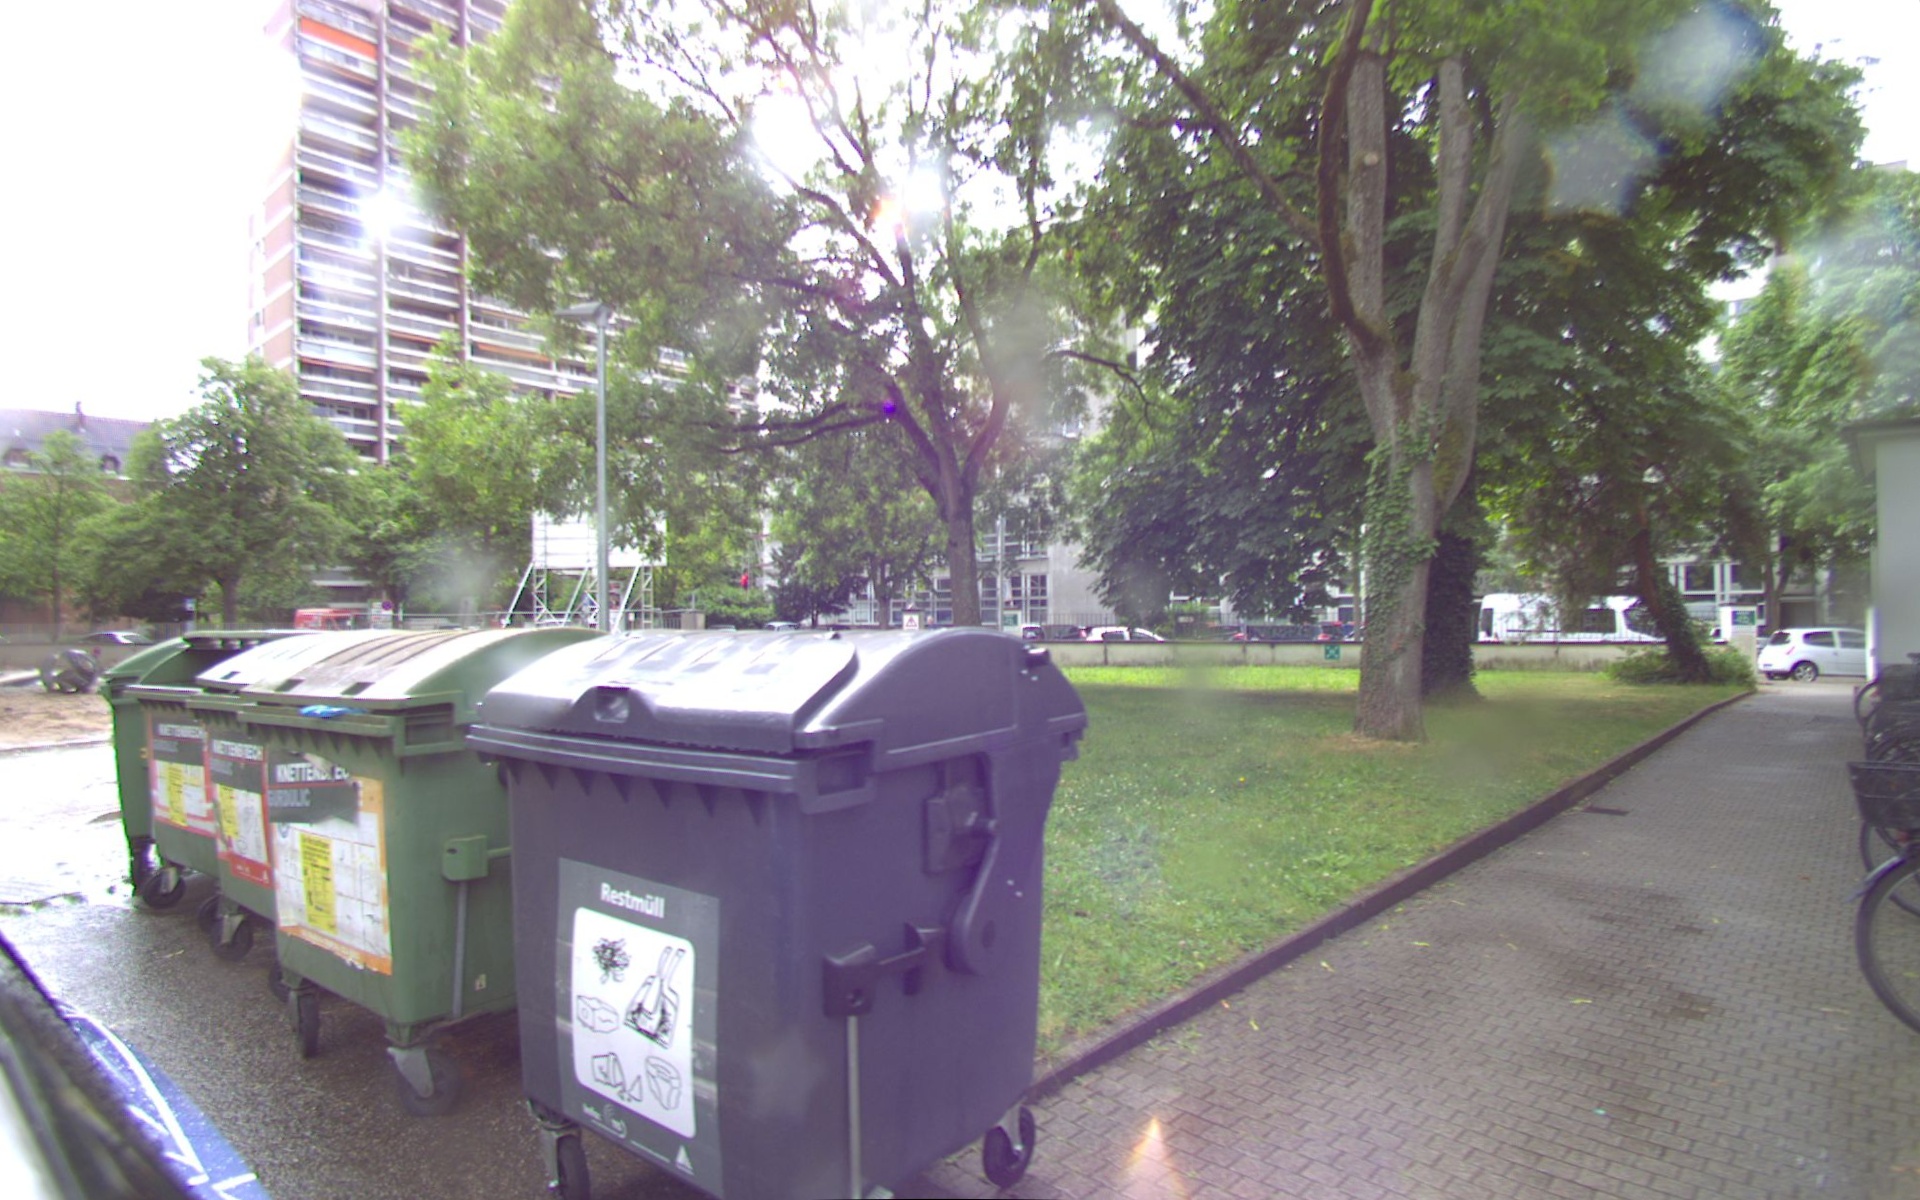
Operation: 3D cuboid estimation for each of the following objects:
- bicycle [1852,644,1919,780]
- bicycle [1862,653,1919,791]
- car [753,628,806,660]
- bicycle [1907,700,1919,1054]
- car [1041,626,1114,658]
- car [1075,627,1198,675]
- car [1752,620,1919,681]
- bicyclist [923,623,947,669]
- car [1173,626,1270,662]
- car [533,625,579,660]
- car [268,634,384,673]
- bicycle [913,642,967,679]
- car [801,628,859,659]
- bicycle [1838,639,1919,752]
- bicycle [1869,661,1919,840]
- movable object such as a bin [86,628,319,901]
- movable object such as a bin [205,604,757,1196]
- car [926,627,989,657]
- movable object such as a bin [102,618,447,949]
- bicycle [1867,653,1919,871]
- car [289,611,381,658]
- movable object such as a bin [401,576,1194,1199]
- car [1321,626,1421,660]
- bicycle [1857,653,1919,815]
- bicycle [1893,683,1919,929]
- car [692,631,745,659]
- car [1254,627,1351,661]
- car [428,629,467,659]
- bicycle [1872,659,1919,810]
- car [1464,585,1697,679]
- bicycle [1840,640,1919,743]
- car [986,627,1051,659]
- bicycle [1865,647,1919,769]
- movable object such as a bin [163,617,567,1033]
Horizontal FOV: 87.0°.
[{"bbox_3d":[9.099,0.980,8.819,1.926,1.186,0.608,-3,-3,43],"label":"bicycle"},{"bbox_3d":[8.604,1.023,8.193,1.926,1.124,0.608,-1,-2,43],"label":"bicycle"},{"bbox_3d":[-9.422,2.266,52.628,1.679,1.563,3.661,0,-2,-28],"label":"car"},{"bbox_3d":[3.987,0.918,2.936,1.788,1.124,0.608,-1,-2,43],"label":"bicycle"},{"bbox_3d":[5.629,2.050,49.074,1.785,1.492,3.991,0,-3,-23],"label":"car"},{"bbox_3d":[5.709,1.644,32.650,3.797,1.471,1.682,-1,-3,15],"label":"car"},{"bbox_3d":[23.826,1.353,27.314,3.342,1.562,1.903,0,-3,17],"label":"car"},{"bbox_3d":[-0.904,1.666,36.492,0.662,1.630,0.647,0,-3,-17],"label":"bicyclist"},{"bbox_3d":[12.157,2.093,47.306,1.846,1.567,4.383,2,-4,-30],"label":"car"},{"bbox_3d":[-22.679,2.351,56.765,1.904,1.911,4.660,1,-2,-28],"label":"car"},{"bbox_3d":[-25.908,2.190,41.393,3.964,1.482,1.880,-2,-3,16],"label":"car"},{"bbox_3d":[-0.733,2.167,36.512,1.836,1.276,0.647,0,-3,-17],"label":"bicycle"},{"bbox_3d":[-6.696,2.188,51.778,1.712,1.481,3.661,0,-2,-29],"label":"car"},{"bbox_3d":[10.096,0.972,10.150,1.926,1.124,0.608,-1,-2,43],"label":"bicycle"},{"bbox_3d":[6.864,0.971,6.184,1.926,1.124,0.608,-1,-2,43],"label":"bicycle"},{"bbox_3d":[-4.877,0.941,6.566,1.087,1.484,1.489,-1,-1,-37],"label":"movable object such as a bin"},{"bbox_3d":[-1.651,0.788,3.505,1.495,1.494,1.153,-1,-3,38],"label":"movable object such as a bin"},{"bbox_3d":[-0.172,2.092,50.642,1.712,1.481,3.418,2,-2,-29],"label":"car"},{"bbox_3d":[-3.734,0.877,5.515,1.400,1.494,1.154,-4,-2,36],"label":"movable object such as a bin"},{"bbox_3d":[6.245,0.935,5.511,1.926,1.234,0.608,-1,-2,43],"label":"bicycle"},{"bbox_3d":[-37.168,2.047,60.180,5.460,2.654,2.279,-1,-2,30],"label":"car"},{"bbox_3d":[-0.404,0.739,2.506,1.592,1.494,1.153,-1,-3,38],"label":"movable object such as a bin"},{"bbox_3d":[18.433,1.966,45.570,1.747,1.465,3.893,1,-4,-30],"label":"car"},{"bbox_3d":[7.447,0.959,6.936,1.926,1.124,0.608,-1,-2,43],"label":"bicycle"},{"bbox_3d":[5.292,0.977,4.408,1.788,1.124,0.608,-1,-2,43],"label":"bicycle"},{"bbox_3d":[-12.966,2.399,54.211,1.739,1.408,3.660,0,-2,-31],"label":"car"},{"bbox_3d":[15.416,2.000,45.722,1.791,1.465,3.893,1,-4,-30],"label":"car"},{"bbox_3d":[-29.996,2.529,59.182,1.755,1.577,4.059,0,0,-30],"label":"car"},{"bbox_3d":[7.988,1.028,7.411,1.926,1.124,0.608,-1,-2,43],"label":"bicycle"},{"bbox_3d":[17.631,0.951,29.090,5.225,2.529,2.129,-1,-3,15],"label":"car"},{"bbox_3d":[11.041,1.022,11.211,1.926,1.124,0.608,-1,-2,43],"label":"bicycle"},{"bbox_3d":[2.791,2.075,49.335,1.681,1.463,3.419,0,-1,-26],"label":"car"},{"bbox_3d":[9.610,1.021,9.285,1.926,1.124,0.608,-1,-2,43],"label":"bicycle"},{"bbox_3d":[-2.682,0.841,4.565,1.401,1.494,1.153,-3,-2,39],"label":"movable object such as a bin"}]
